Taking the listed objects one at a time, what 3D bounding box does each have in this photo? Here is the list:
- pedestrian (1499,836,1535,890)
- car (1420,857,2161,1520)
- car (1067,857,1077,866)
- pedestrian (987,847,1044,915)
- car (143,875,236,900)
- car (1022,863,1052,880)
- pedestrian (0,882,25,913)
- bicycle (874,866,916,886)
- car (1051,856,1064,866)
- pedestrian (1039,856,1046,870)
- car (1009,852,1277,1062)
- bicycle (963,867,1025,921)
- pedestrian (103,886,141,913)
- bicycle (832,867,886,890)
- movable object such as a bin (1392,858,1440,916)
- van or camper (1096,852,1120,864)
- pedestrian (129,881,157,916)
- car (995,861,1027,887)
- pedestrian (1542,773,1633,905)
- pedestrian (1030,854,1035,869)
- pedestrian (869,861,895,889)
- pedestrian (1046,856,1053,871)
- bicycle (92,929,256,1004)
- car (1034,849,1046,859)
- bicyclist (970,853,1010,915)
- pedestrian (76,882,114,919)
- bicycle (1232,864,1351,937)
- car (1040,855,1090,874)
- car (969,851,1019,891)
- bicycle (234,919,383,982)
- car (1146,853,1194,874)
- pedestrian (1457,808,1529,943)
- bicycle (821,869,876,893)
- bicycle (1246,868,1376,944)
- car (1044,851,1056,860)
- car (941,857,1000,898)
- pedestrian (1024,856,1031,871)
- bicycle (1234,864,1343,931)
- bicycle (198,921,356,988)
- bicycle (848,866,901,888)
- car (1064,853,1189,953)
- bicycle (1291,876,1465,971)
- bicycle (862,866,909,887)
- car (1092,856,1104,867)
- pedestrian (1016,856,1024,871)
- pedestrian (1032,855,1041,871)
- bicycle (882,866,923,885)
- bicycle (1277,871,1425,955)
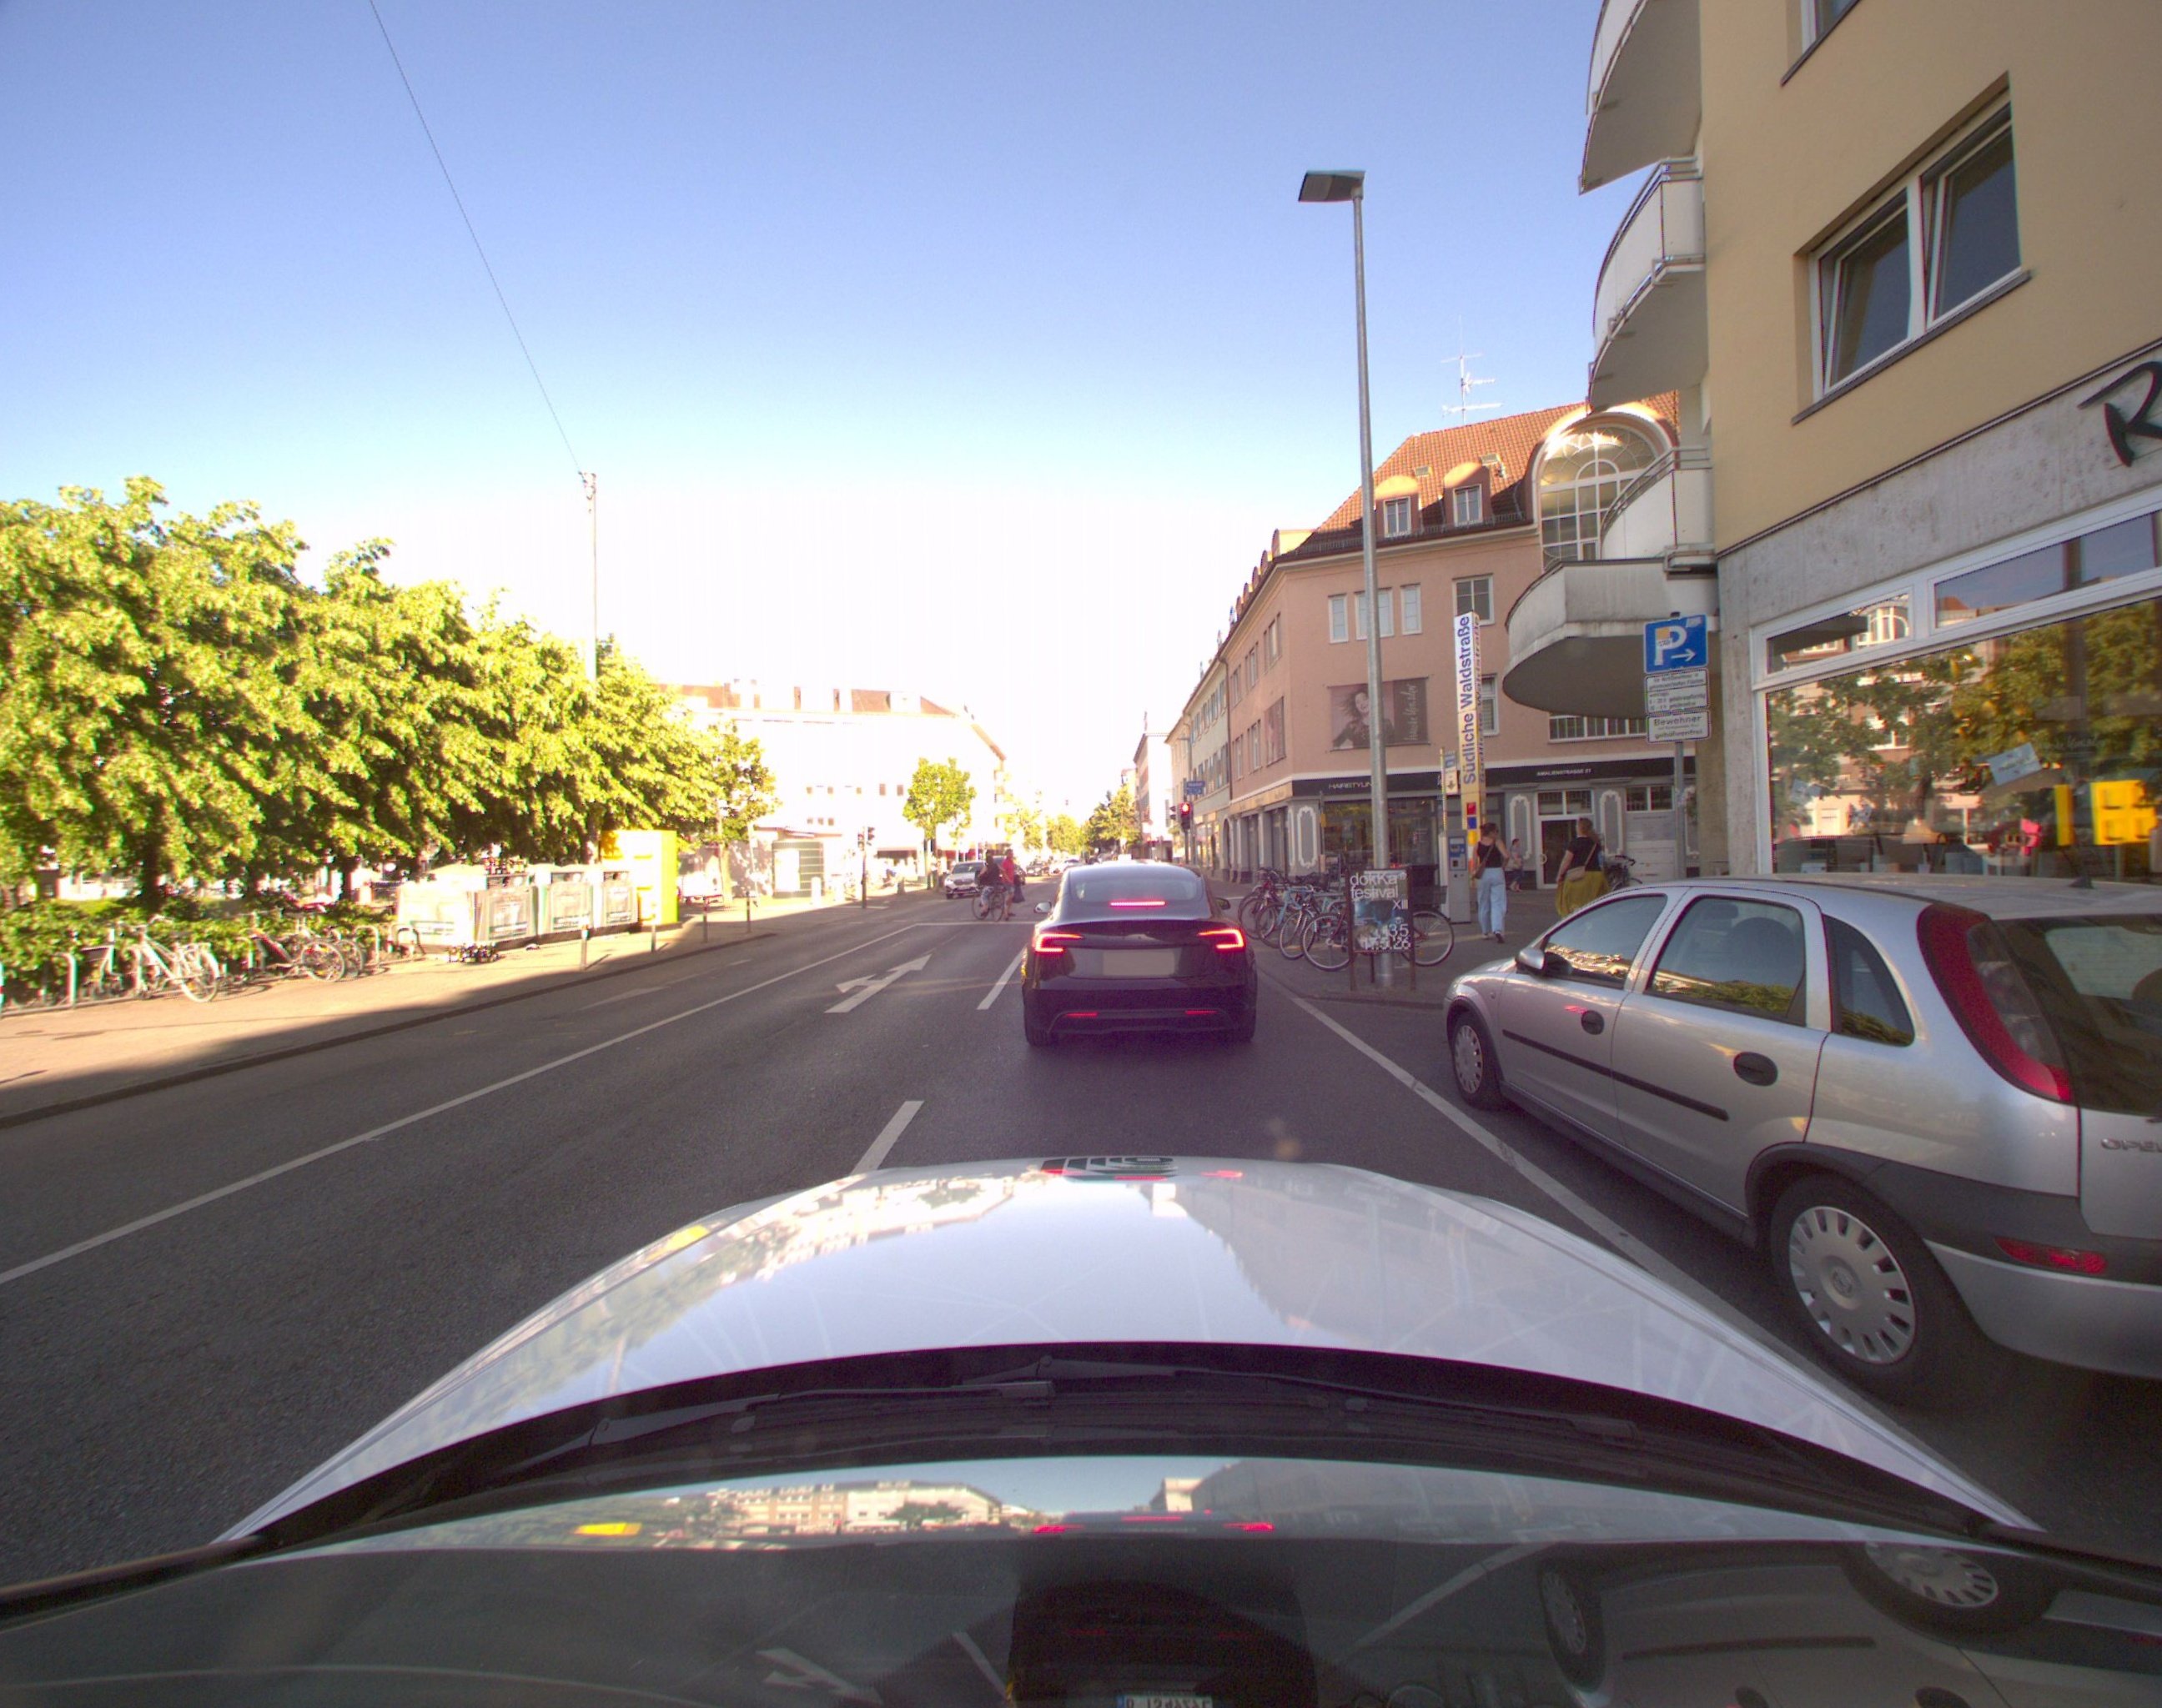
[{"bbox_3d":[12.735,0.256,23.791,0.714,1.549,0.797,-1,-1,43],"label":"pedestrian"},{"bbox_3d":[2.965,0.733,3.547,1.578,1.426,3.581,0,-1,2],"label":"car"},{"bbox_3d":[-1.999,1.776,187.429,2.124,1.970,4.135,-1,0,2],"label":"car"},{"bbox_3d":[-1.691,0.687,21.224,1.100,1.719,1.067,-1,-1,21],"label":"pedestrian"},{"bbox_3d":[-63.021,2.357,57.658,4.138,1.530,1.539,-1,0,-23],"label":"car"},{"bbox_3d":[-3.759,1.484,70.698,1.683,1.390,3.927,-1,-1,11],"label":"car"},{"bbox_3d":[-64.777,2.614,48.971,1.306,1.842,1.090,0,-1,-37],"label":"pedestrian"},{"bbox_3d":[-11.997,1.398,52.576,2.535,1.251,0.942,0,-1,-1],"label":"bicycle"},{"bbox_3d":[-4.859,1.321,166.808,2.405,1.970,4.679,-1,0,2],"label":"car"},{"bbox_3d":[-5.006,1.186,105.933,0.695,1.868,0.907,0,-1,-9],"label":"pedestrian"},{"bbox_3d":[0.500,0.734,7.883,1.843,1.447,4.453,0,0,2],"label":"car"},{"bbox_3d":[-2.133,0.950,19.742,0.632,1.223,1.980,-1,-1,-33],"label":"bicycle"},{"bbox_3d":[-44.756,2.121,38.005,0.856,1.214,0.905,-1,-1,23],"label":"pedestrian"},{"bbox_3d":[-12.391,1.368,45.588,2.772,1.274,0.933,0,-1,-2],"label":"bicycle"},{"bbox_3d":[6.748,0.654,16.423,0.633,1.103,0.728,-4,-1,5],"label":"movable object such as a bin"},{"bbox_3d":[5.633,0.850,167.660,4.832,2.438,1.851,-1,0,1],"label":"van or camper"},{"bbox_3d":[-41.539,1.952,36.064,0.827,1.520,0.782,-1,-1,38],"label":"pedestrian"},{"bbox_3d":[-4.254,1.201,50.047,1.455,1.430,3.607,-5,-1,2],"label":"car"},{"bbox_3d":[7.151,-0.203,11.535,0.717,1.754,0.789,-4,-1,6],"label":"pedestrian"},{"bbox_3d":[-6.215,0.975,104.224,0.693,1.868,0.658,0,-1,-3],"label":"pedestrian"},{"bbox_3d":[-11.521,1.218,47.127,1.269,1.611,1.087,0,-1,-27],"label":"pedestrian"},{"bbox_3d":[-3.947,1.147,102.152,0.774,1.868,1.006,0,-1,-8],"label":"pedestrian"},{"bbox_3d":[-11.457,1.414,10.305,1.560,0.886,0.470,0,-1,1],"label":"bicycle"},{"bbox_3d":[-9.021,-0.014,180.138,2.266,2.014,4.720,0,-1,3],"label":"car"},{"bbox_3d":[-2.237,0.714,19.901,0.610,1.484,0.948,0,-1,-33],"label":"bicyclist"},{"bbox_3d":[-42.888,2.009,35.445,0.928,1.520,0.924,0,-1,-43],"label":"pedestrian"},{"bbox_3d":[3.500,0.770,13.642,1.806,1.152,0.653,-1,0,3],"label":"bicycle"},{"bbox_3d":[-1.622,1.073,82.839,4.718,1.430,1.722,-5,-1,-22],"label":"car"},{"bbox_3d":[-4.493,0.831,42.921,1.938,1.947,4.822,-1,0,2],"label":"car"},{"bbox_3d":[-11.457,1.421,12.102,1.663,0.859,0.469,0,-1,-5],"label":"bicycle"},{"bbox_3d":[8.148,0.869,74.650,4.006,1.867,1.686,-1,0,-20],"label":"car"},{"bbox_3d":[6.002,0.305,11.913,0.675,1.849,0.898,-5,-1,19],"label":"pedestrian"},{"bbox_3d":[-12.323,1.435,43.244,2.652,1.195,0.942,0,-1,-1],"label":"bicycle"},{"bbox_3d":[3.522,0.786,12.567,1.806,1.102,0.653,-1,0,3],"label":"bicycle"},{"bbox_3d":[-7.165,0.289,188.733,2.266,2.014,4.720,0,-1,3],"label":"car"},{"bbox_3d":[-4.881,1.012,36.598,1.818,1.565,4.302,-5,-1,2],"label":"car"},{"bbox_3d":[-6.395,1.128,97.581,0.734,1.868,0.787,0,-1,-15],"label":"pedestrian"},{"bbox_3d":[3.741,0.778,14.772,1.806,1.152,0.653,-1,0,3],"label":"bicycle"},{"bbox_3d":[-11.422,1.420,11.603,1.667,0.859,0.469,0,-1,-5],"label":"bicycle"},{"bbox_3d":[-12.152,1.361,47.983,2.867,1.270,0.942,0,-1,-1],"label":"bicycle"},{"bbox_3d":[0.746,0.745,14.307,1.843,1.482,4.453,0,0,2],"label":"car"},{"bbox_3d":[3.640,0.840,10.083,1.875,1.044,0.653,-2,0,3],"label":"bicycle"},{"bbox_3d":[-12.052,1.384,50.301,2.655,1.259,0.942,0,-1,-1],"label":"bicycle"},{"bbox_3d":[2.911,1.257,138.645,2.027,1.788,4.008,-1,0,2],"label":"car"},{"bbox_3d":[-7.296,1.132,97.232,0.734,1.868,0.787,0,-1,-15],"label":"pedestrian"},{"bbox_3d":[-5.135,1.097,94.834,0.726,1.868,0.796,-1,-1,30],"label":"pedestrian"},{"bbox_3d":[-12.051,1.418,55.004,2.535,1.251,0.942,0,-1,-1],"label":"bicycle"},{"bbox_3d":[3.660,0.793,11.156,1.806,1.060,0.653,-1,0,3],"label":"bicycle"}]
